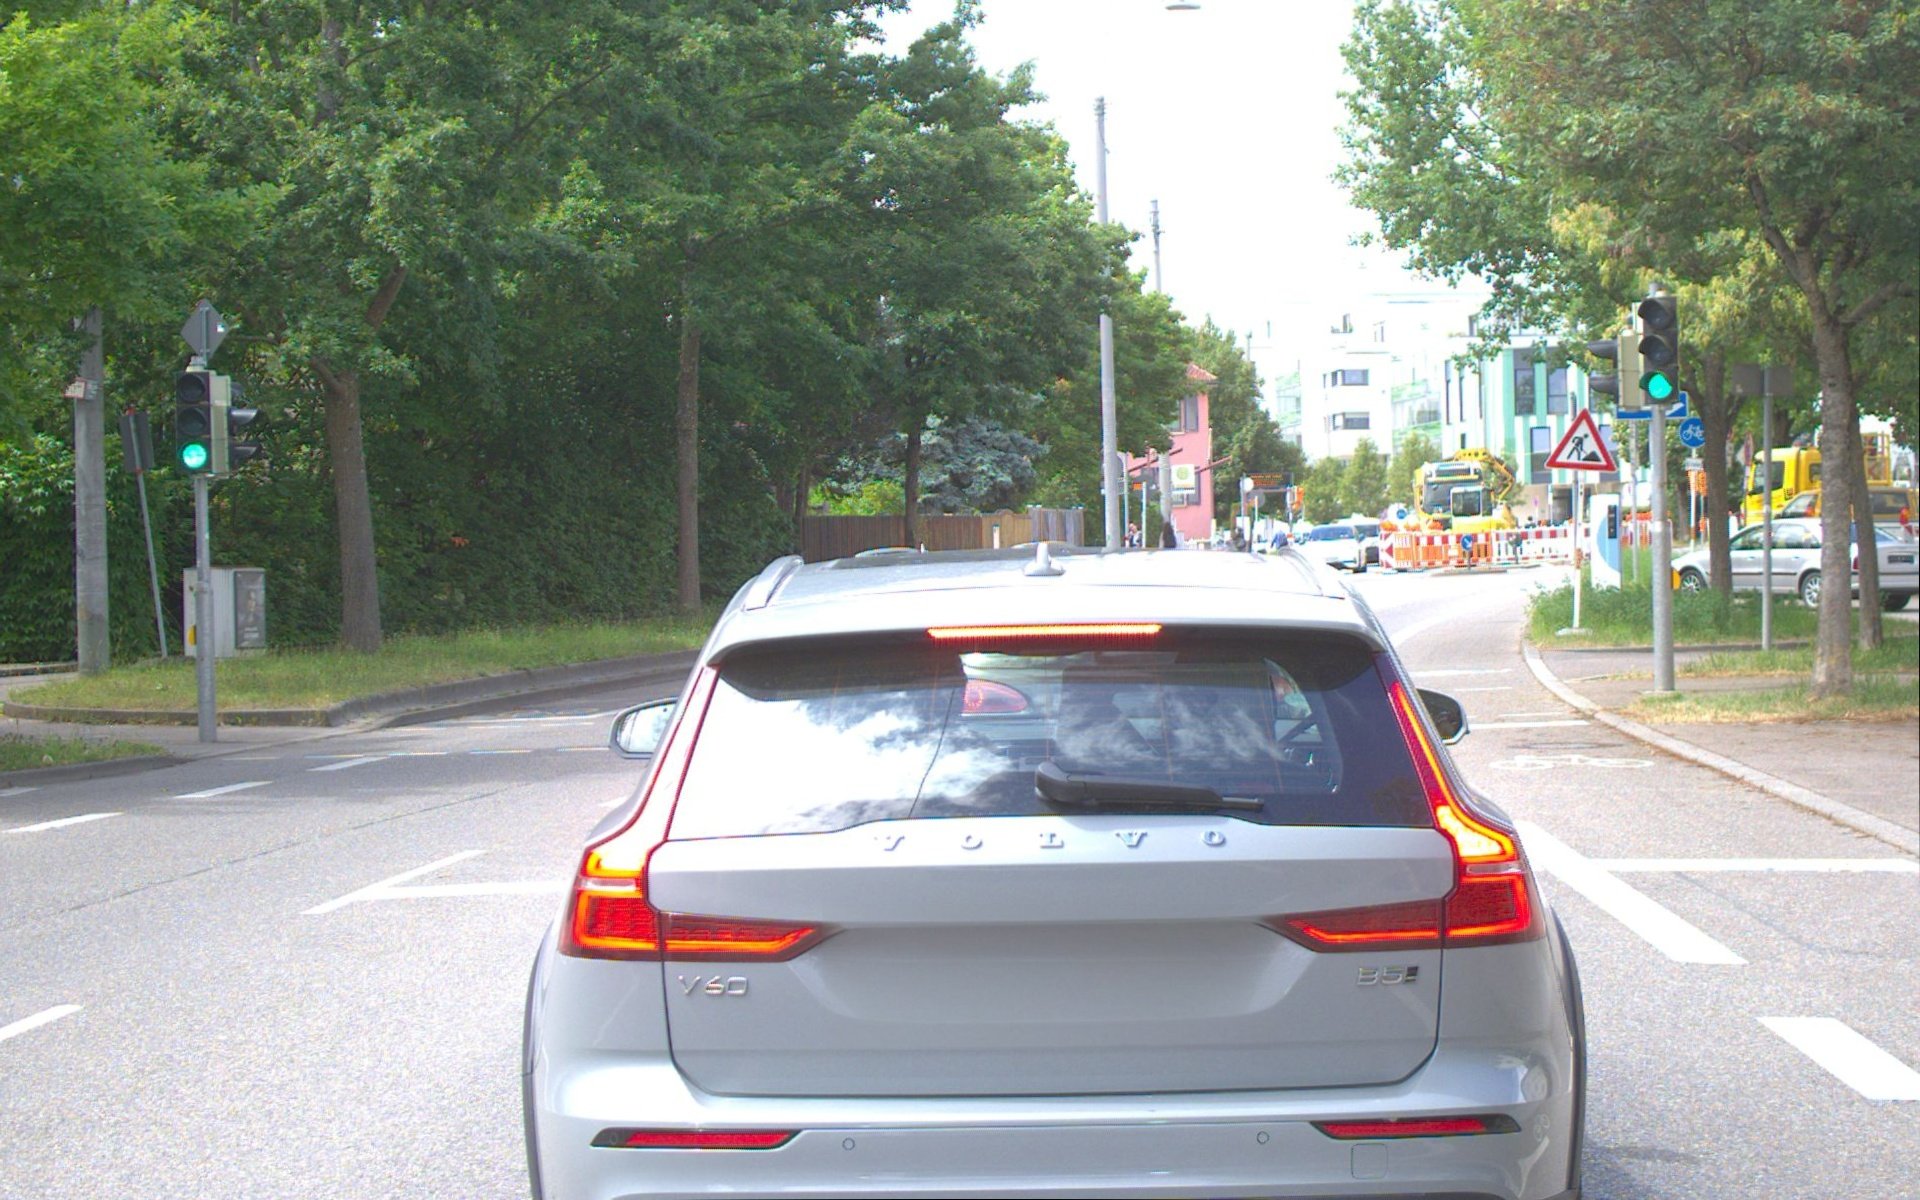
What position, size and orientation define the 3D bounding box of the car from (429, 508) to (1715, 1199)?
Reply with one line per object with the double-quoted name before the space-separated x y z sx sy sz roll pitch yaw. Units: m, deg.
"car" 0.209 0.608 7.172 1.928 1.535 4.000 0 1 1
